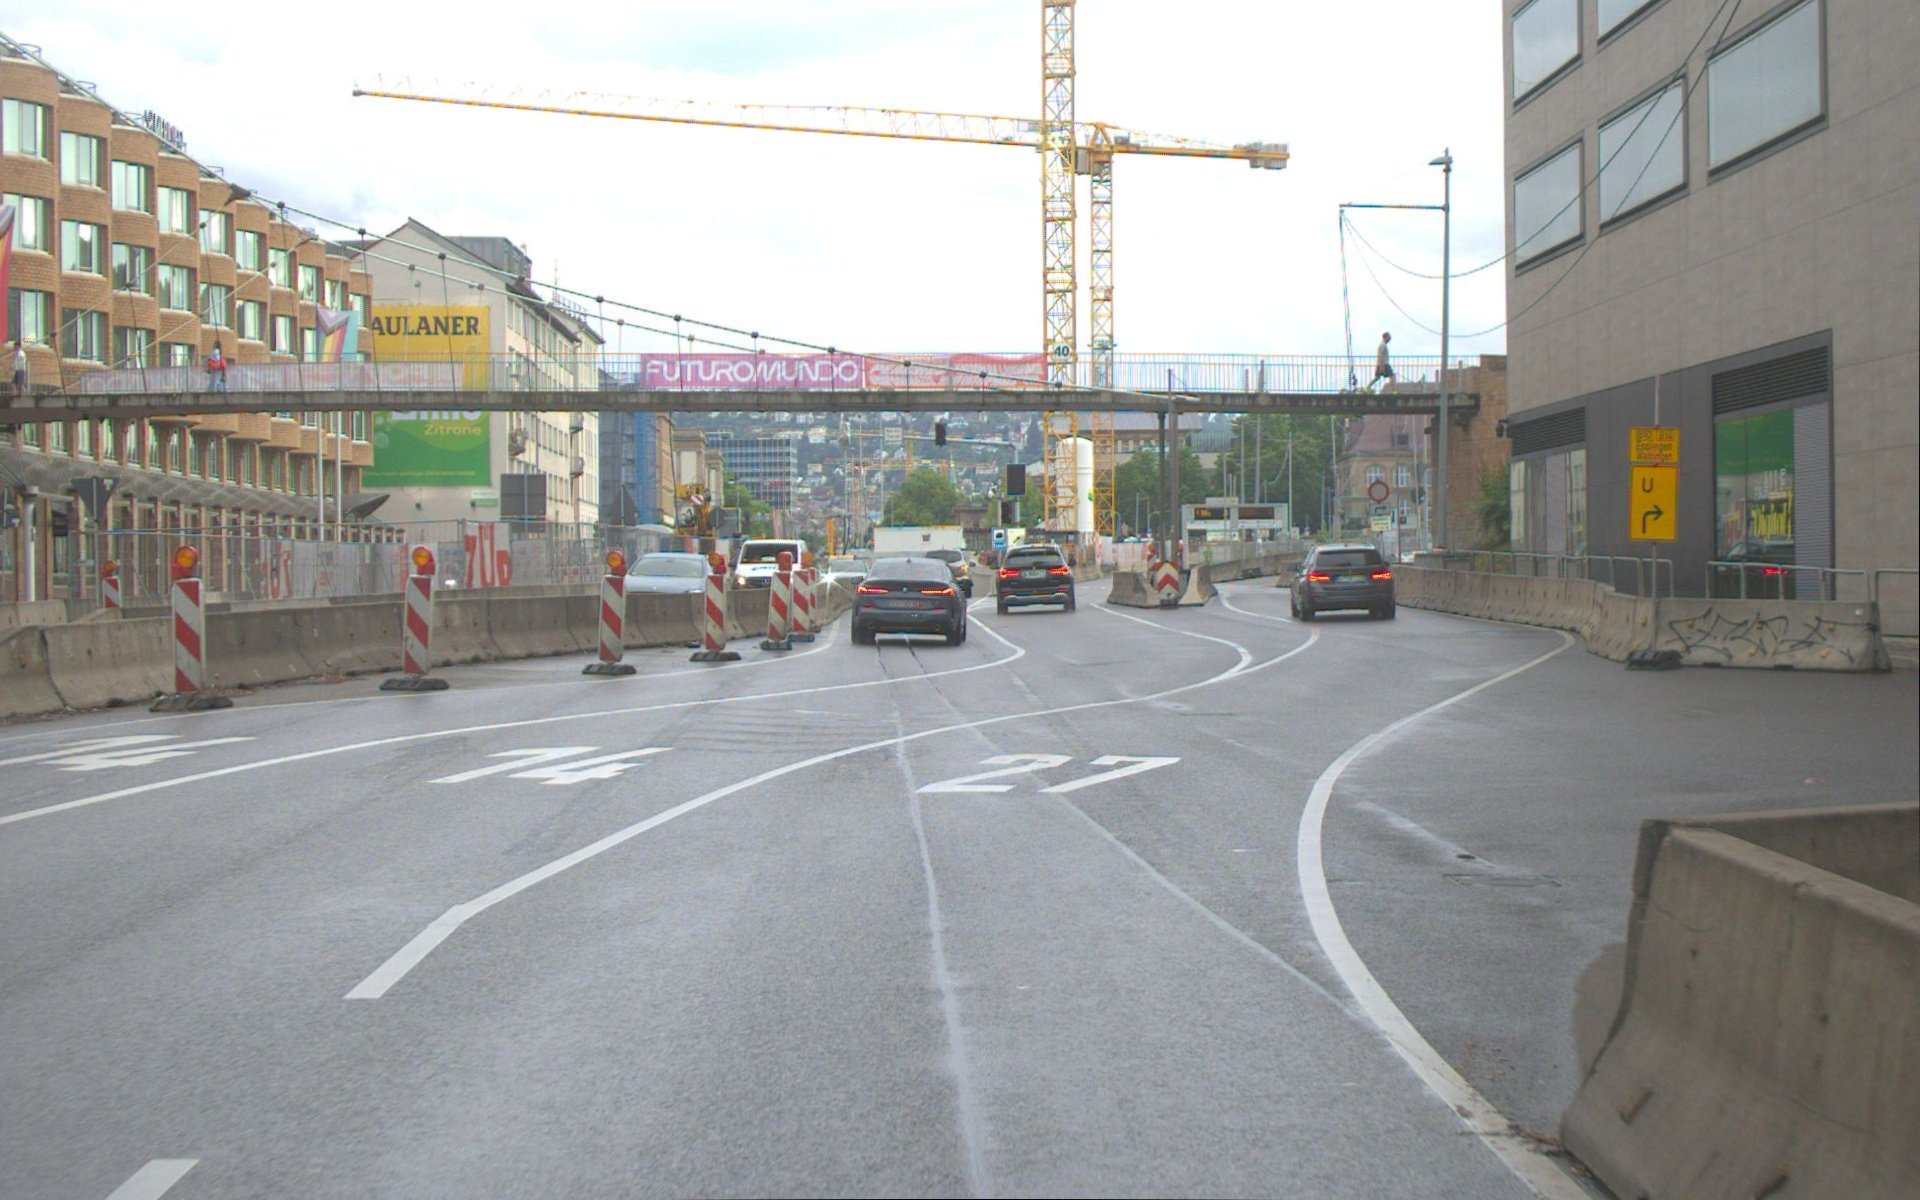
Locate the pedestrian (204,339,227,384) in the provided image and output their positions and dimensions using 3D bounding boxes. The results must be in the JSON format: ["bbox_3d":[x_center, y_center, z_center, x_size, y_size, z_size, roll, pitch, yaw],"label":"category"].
[{"bbox_3d":[-20.437,-6.544,94.389,0.475,1.190,0.484,-2,1,3],"label":"pedestrian"}]

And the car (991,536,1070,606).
[{"bbox_3d":[1.714,-0.722,83.539,1.863,1.655,4.656,0,1,1],"label":"car"}]

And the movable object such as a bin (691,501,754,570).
[{"bbox_3d":[-8.317,-2.241,120.631,2.026,2.269,4.293,-4,1,-4],"label":"movable object such as a bin"}]

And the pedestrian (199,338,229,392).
[{"bbox_3d":[-20.491,-6.455,94.394,0.620,1.447,0.618,-2,1,3],"label":"pedestrian"}]

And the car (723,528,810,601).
[{"bbox_3d":[-5.125,-0.958,91.681,1.993,1.878,4.870,0,1,1],"label":"car"}]

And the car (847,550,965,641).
[{"bbox_3d":[-0.864,-0.110,57.417,1.863,1.438,4.656,0,1,0],"label":"car"}]

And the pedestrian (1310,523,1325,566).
[{"bbox_3d":[16.918,-2.632,162.676,0.626,2.007,0.663,0,1,12],"label":"pedestrian"}]

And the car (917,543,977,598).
[{"bbox_3d":[-0.444,-0.991,113.629,1.863,1.759,4.657,0,1,-2],"label":"car"}]

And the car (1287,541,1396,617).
[{"bbox_3d":[7.387,-0.434,66.935,1.863,1.428,4.656,0,1,3],"label":"car"}]
